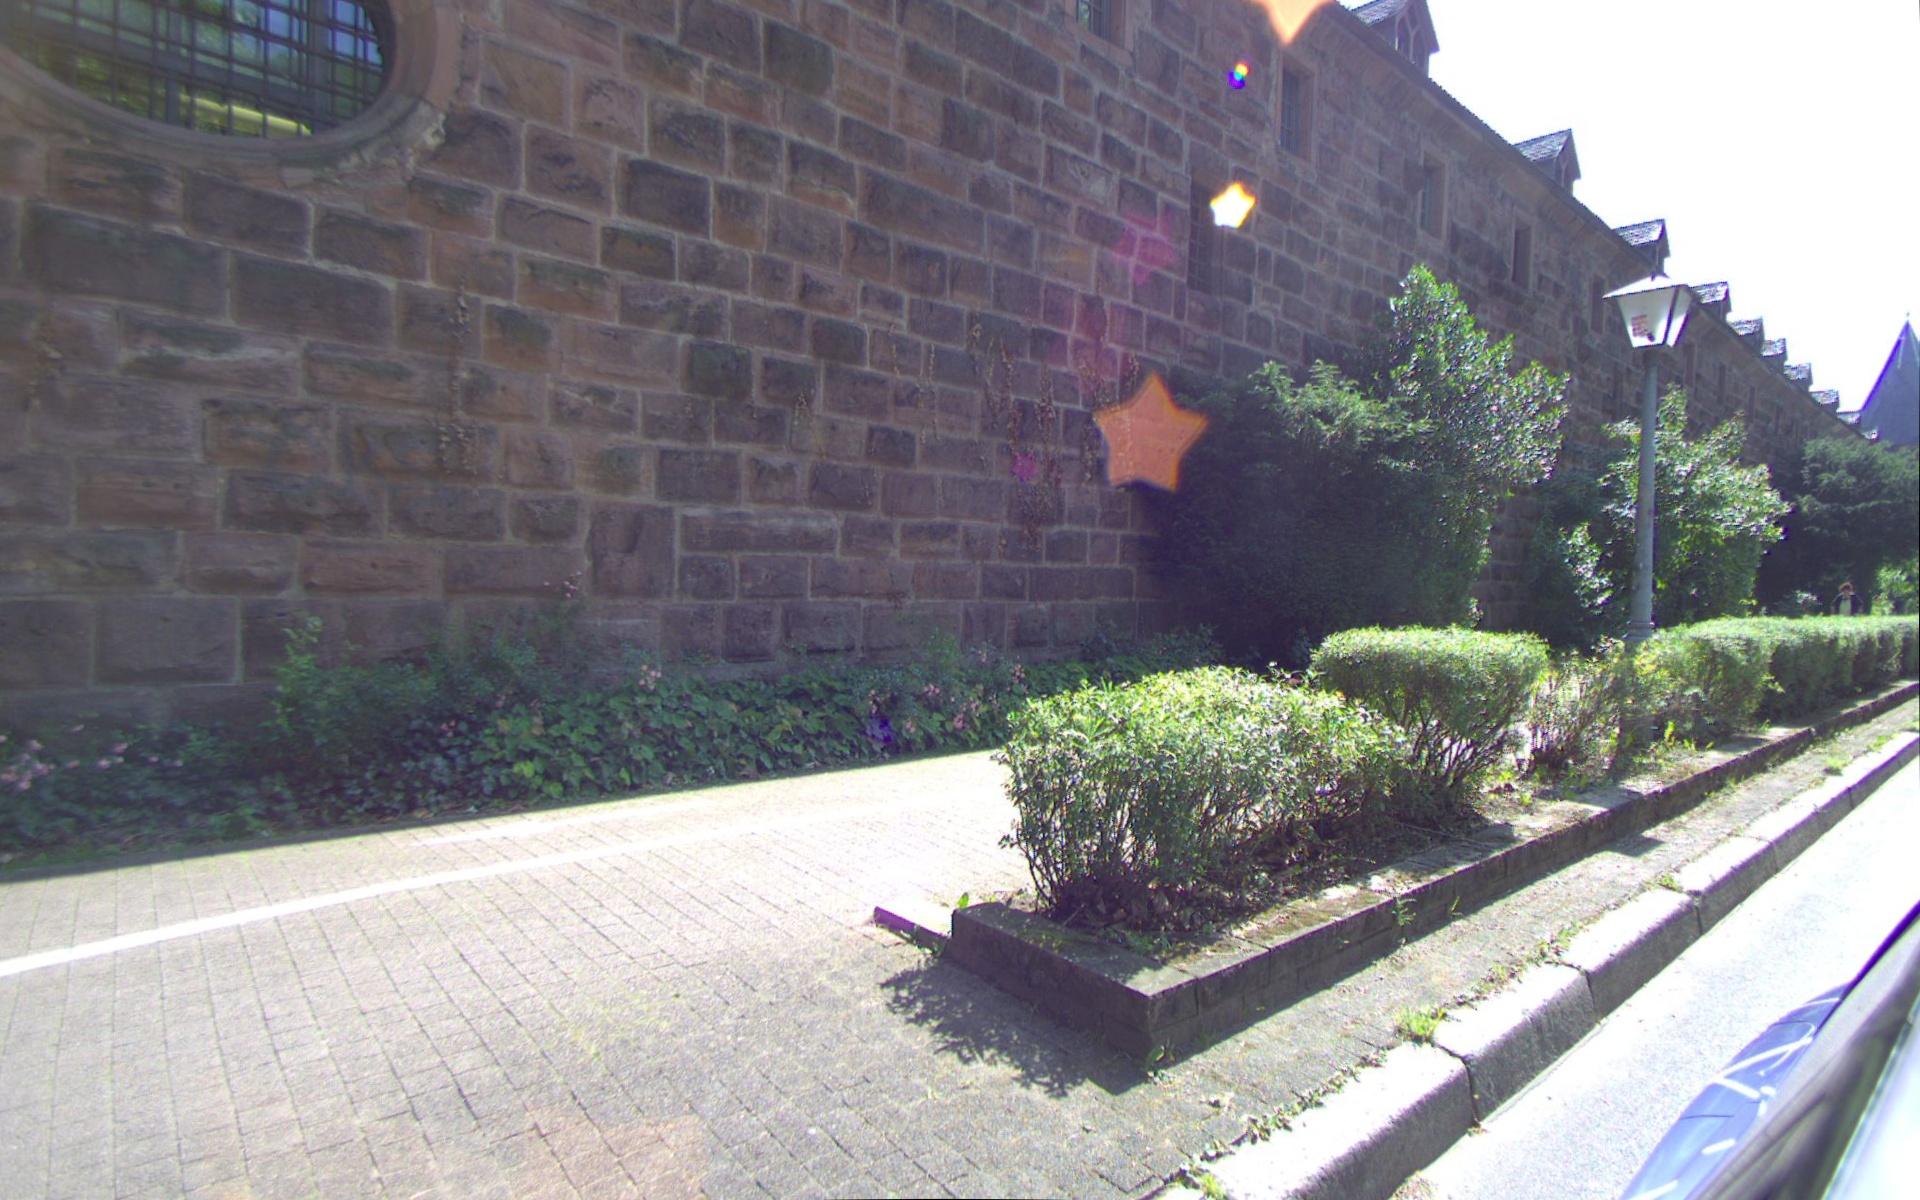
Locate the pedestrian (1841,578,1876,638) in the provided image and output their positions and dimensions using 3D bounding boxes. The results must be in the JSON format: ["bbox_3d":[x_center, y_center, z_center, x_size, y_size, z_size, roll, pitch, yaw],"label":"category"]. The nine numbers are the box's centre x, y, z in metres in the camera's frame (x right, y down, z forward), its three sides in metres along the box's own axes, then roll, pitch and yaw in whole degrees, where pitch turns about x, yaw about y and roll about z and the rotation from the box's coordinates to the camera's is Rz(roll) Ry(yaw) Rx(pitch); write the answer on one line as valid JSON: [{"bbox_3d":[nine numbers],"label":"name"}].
[{"bbox_3d":[24.033,0.201,27.070,0.554,1.583,0.642,0,0,-41],"label":"pedestrian"}]
